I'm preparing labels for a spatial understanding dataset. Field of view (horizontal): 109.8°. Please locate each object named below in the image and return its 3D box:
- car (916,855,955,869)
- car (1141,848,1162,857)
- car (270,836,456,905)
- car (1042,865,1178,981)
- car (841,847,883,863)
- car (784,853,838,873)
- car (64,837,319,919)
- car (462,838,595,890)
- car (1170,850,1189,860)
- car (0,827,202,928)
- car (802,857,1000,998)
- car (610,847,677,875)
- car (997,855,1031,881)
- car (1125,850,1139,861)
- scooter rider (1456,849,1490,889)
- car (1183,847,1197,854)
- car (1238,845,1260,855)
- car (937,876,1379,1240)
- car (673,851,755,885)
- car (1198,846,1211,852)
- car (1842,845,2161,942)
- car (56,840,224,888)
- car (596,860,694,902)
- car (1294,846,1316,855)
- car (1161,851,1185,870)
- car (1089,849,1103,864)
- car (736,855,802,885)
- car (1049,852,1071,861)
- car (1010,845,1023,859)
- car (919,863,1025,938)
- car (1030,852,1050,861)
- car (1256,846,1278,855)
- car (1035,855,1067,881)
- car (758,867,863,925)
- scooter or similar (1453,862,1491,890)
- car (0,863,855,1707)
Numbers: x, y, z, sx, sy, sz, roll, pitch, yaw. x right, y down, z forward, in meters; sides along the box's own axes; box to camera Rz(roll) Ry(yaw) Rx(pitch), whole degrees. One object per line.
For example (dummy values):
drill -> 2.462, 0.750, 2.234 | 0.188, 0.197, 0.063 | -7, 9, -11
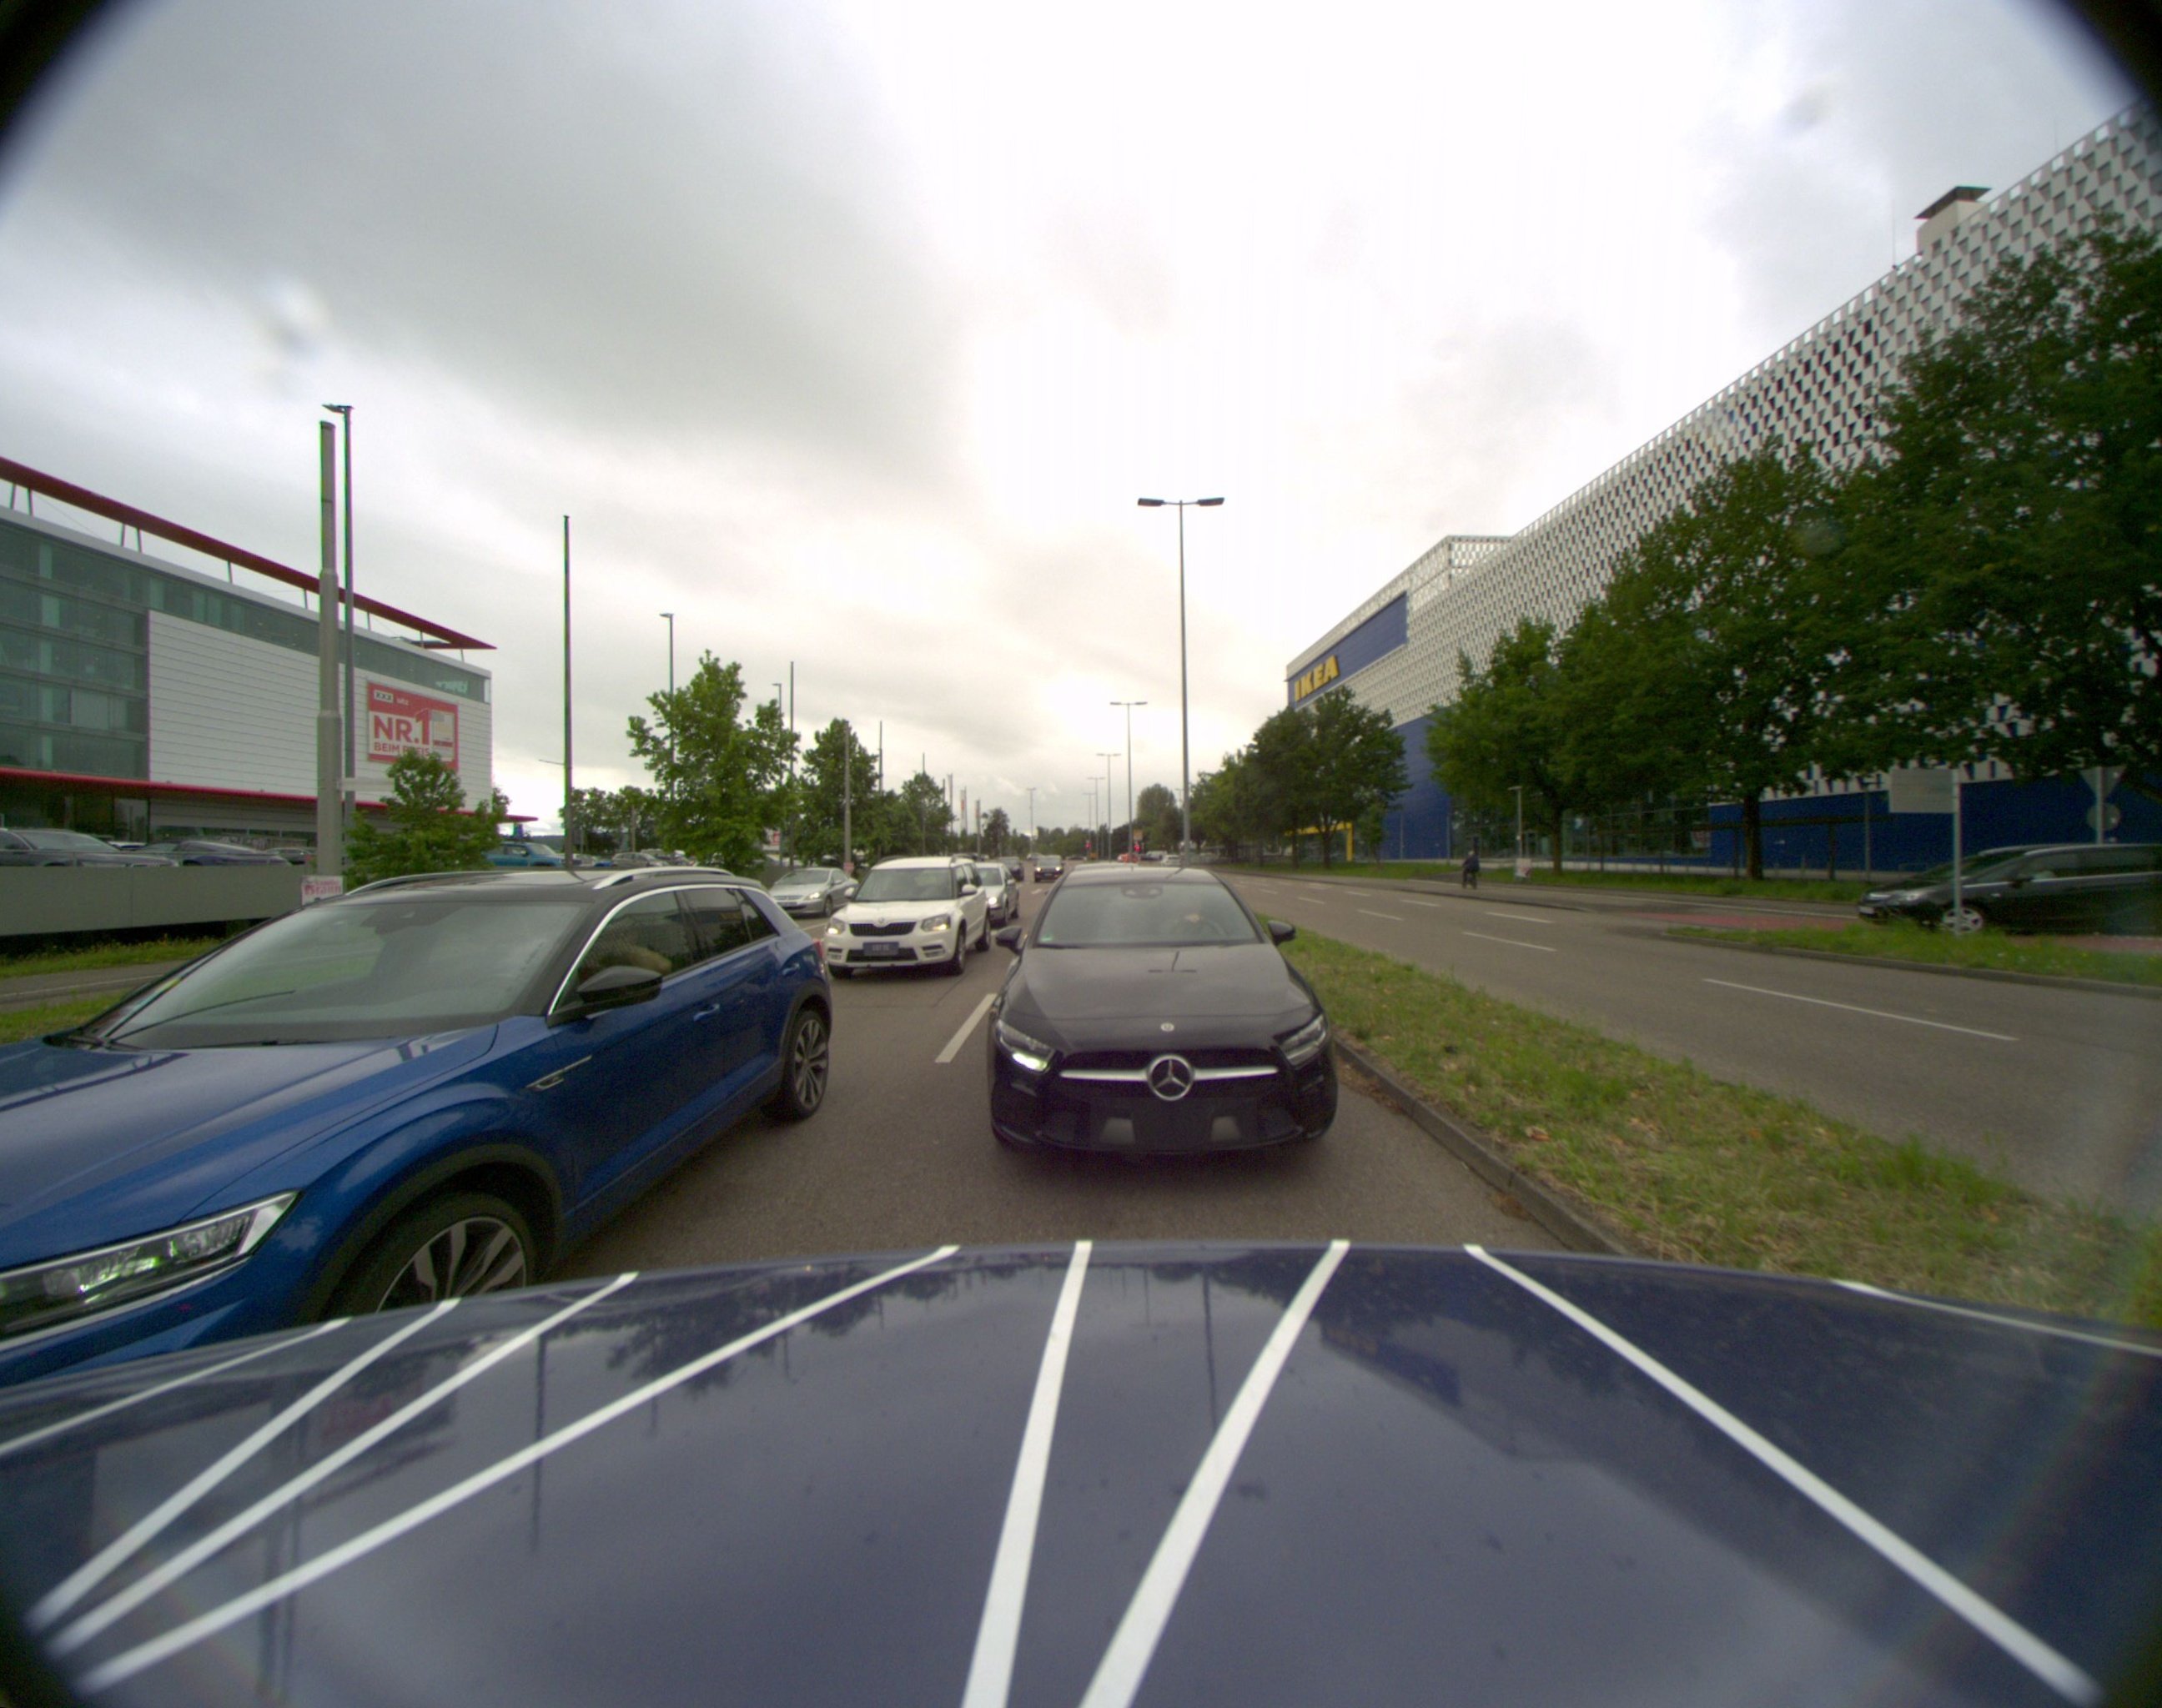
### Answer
car -> -17.069, 0.927, 89.280 | 4.216, 1.407, 1.802 | -2, 1, 0
car -> 16.587, -0.408, 179.989 | 4.708, 2.002, 1.999 | -2, 1, -2
car -> -23.311, 0.513, 24.799 | 3.997, 2.002, 1.999 | -2, 1, -2
car -> 0.422, 0.955, 12.275 | 1.767, 1.370, 4.258 | -2, 1, 1
car -> -24.165, 0.078, 83.956 | 3.997, 1.556, 1.796 | -2, 1, 1
car -> -23.626, 0.767, 66.479 | 3.997, 1.556, 1.796 | -2, 1, 1
car -> -22.653, 0.574, 19.505 | 3.998, 1.838, 1.999 | -2, 1, -2
car -> -23.171, 0.398, 31.990 | 3.997, 2.002, 1.999 | -2, 1, -2
car -> 22.330, 0.266, 172.678 | 3.997, 2.002, 1.999 | -2, 1, -2
car -> -22.645, 0.529, 16.513 | 4.529, 2.002, 1.999 | -2, 1, -2
car -> -2.449, 0.914, 11.549 | 1.798, 1.615, 4.374 | -2, 1, 1
car -> -33.886, 0.538, 58.929 | 3.997, 2.002, 1.999 | -2, 1, -2
car -> -4.567, 0.943, 52.349 | 1.798, 1.615, 4.374 | -2, 1, 1
car -> 8.321, 0.259, 124.017 | 1.847, 1.709, 3.924 | -2, 1, -1
scooter rider -> 17.098, 0.652, 33.176 | 0.798, 1.710, 1.038 | -2, 1, -16
car -> 34.271, -1.106, 238.913 | 4.290, 1.813, 1.743 | -2, 1, -3
car -> 30.325, -0.681, 137.057 | 3.565, 1.630, 1.743 | -2, 1, -3
car -> 0.360, 0.946, 5.390 | 1.859, 1.426, 4.197 | -2, 0, 1
car -> -24.045, 0.883, 49.954 | 4.324, 2.002, 1.999 | -2, 1, -2
car -> 38.893, -1.636, 239.165 | 3.565, 1.630, 1.743 | -2, 1, -3
car -> 17.604, 0.704, 14.234 | 4.352, 1.646, 1.851 | -1, 0, 19
car -> -37.450, 0.378, 30.342 | 3.998, 1.729, 1.999 | -2, 1, -2
car -> -23.375, 1.416, 40.870 | 3.997, 2.002, 1.999 | -2, 1, -2
car -> 47.266, -0.762, 160.567 | 3.999, 1.805, 1.998 | -2, 1, -7
car -> 9.473, 0.643, 78.345 | 1.847, 1.875, 3.924 | -2, 1, -1
car -> 2.352, 0.365, 118.496 | 1.999, 2.206, 3.999 | 0, 0, -2
car -> -23.247, 1.181, 56.643 | 3.997, 2.002, 2.000 | -2, 1, 0
car -> -4.976, 0.535, 180.855 | 5.089, 2.002, 1.999 | -2, 1, -2
car -> -10.237, -0.328, 120.906 | 1.999, 2.229, 3.999 | 0, 0, -2
car -> -2.450, 1.001, 18.093 | 1.801, 1.407, 4.218 | -2, 1, 1
car -> -8.325, 0.591, 153.756 | 3.999, 1.786, 1.999 | 0, 0, -6
car -> 39.033, -0.801, 159.719 | 3.999, 1.805, 1.998 | -2, 1, -7
car -> -1.908, 0.921, 49.283 | 1.801, 1.564, 4.219 | -2, -1, 1
car -> -7.845, 1.165, 22.398 | 1.694, 1.364, 3.925 | -2, 1, -1
scooter or similar -> 17.092, 0.944, 33.221 | 0.590, 1.119, 1.423 | -5, 2, -16
car -> -2.587, 0.929, 3.134 | 1.846, 1.612, 4.332 | -2, 1, 1
